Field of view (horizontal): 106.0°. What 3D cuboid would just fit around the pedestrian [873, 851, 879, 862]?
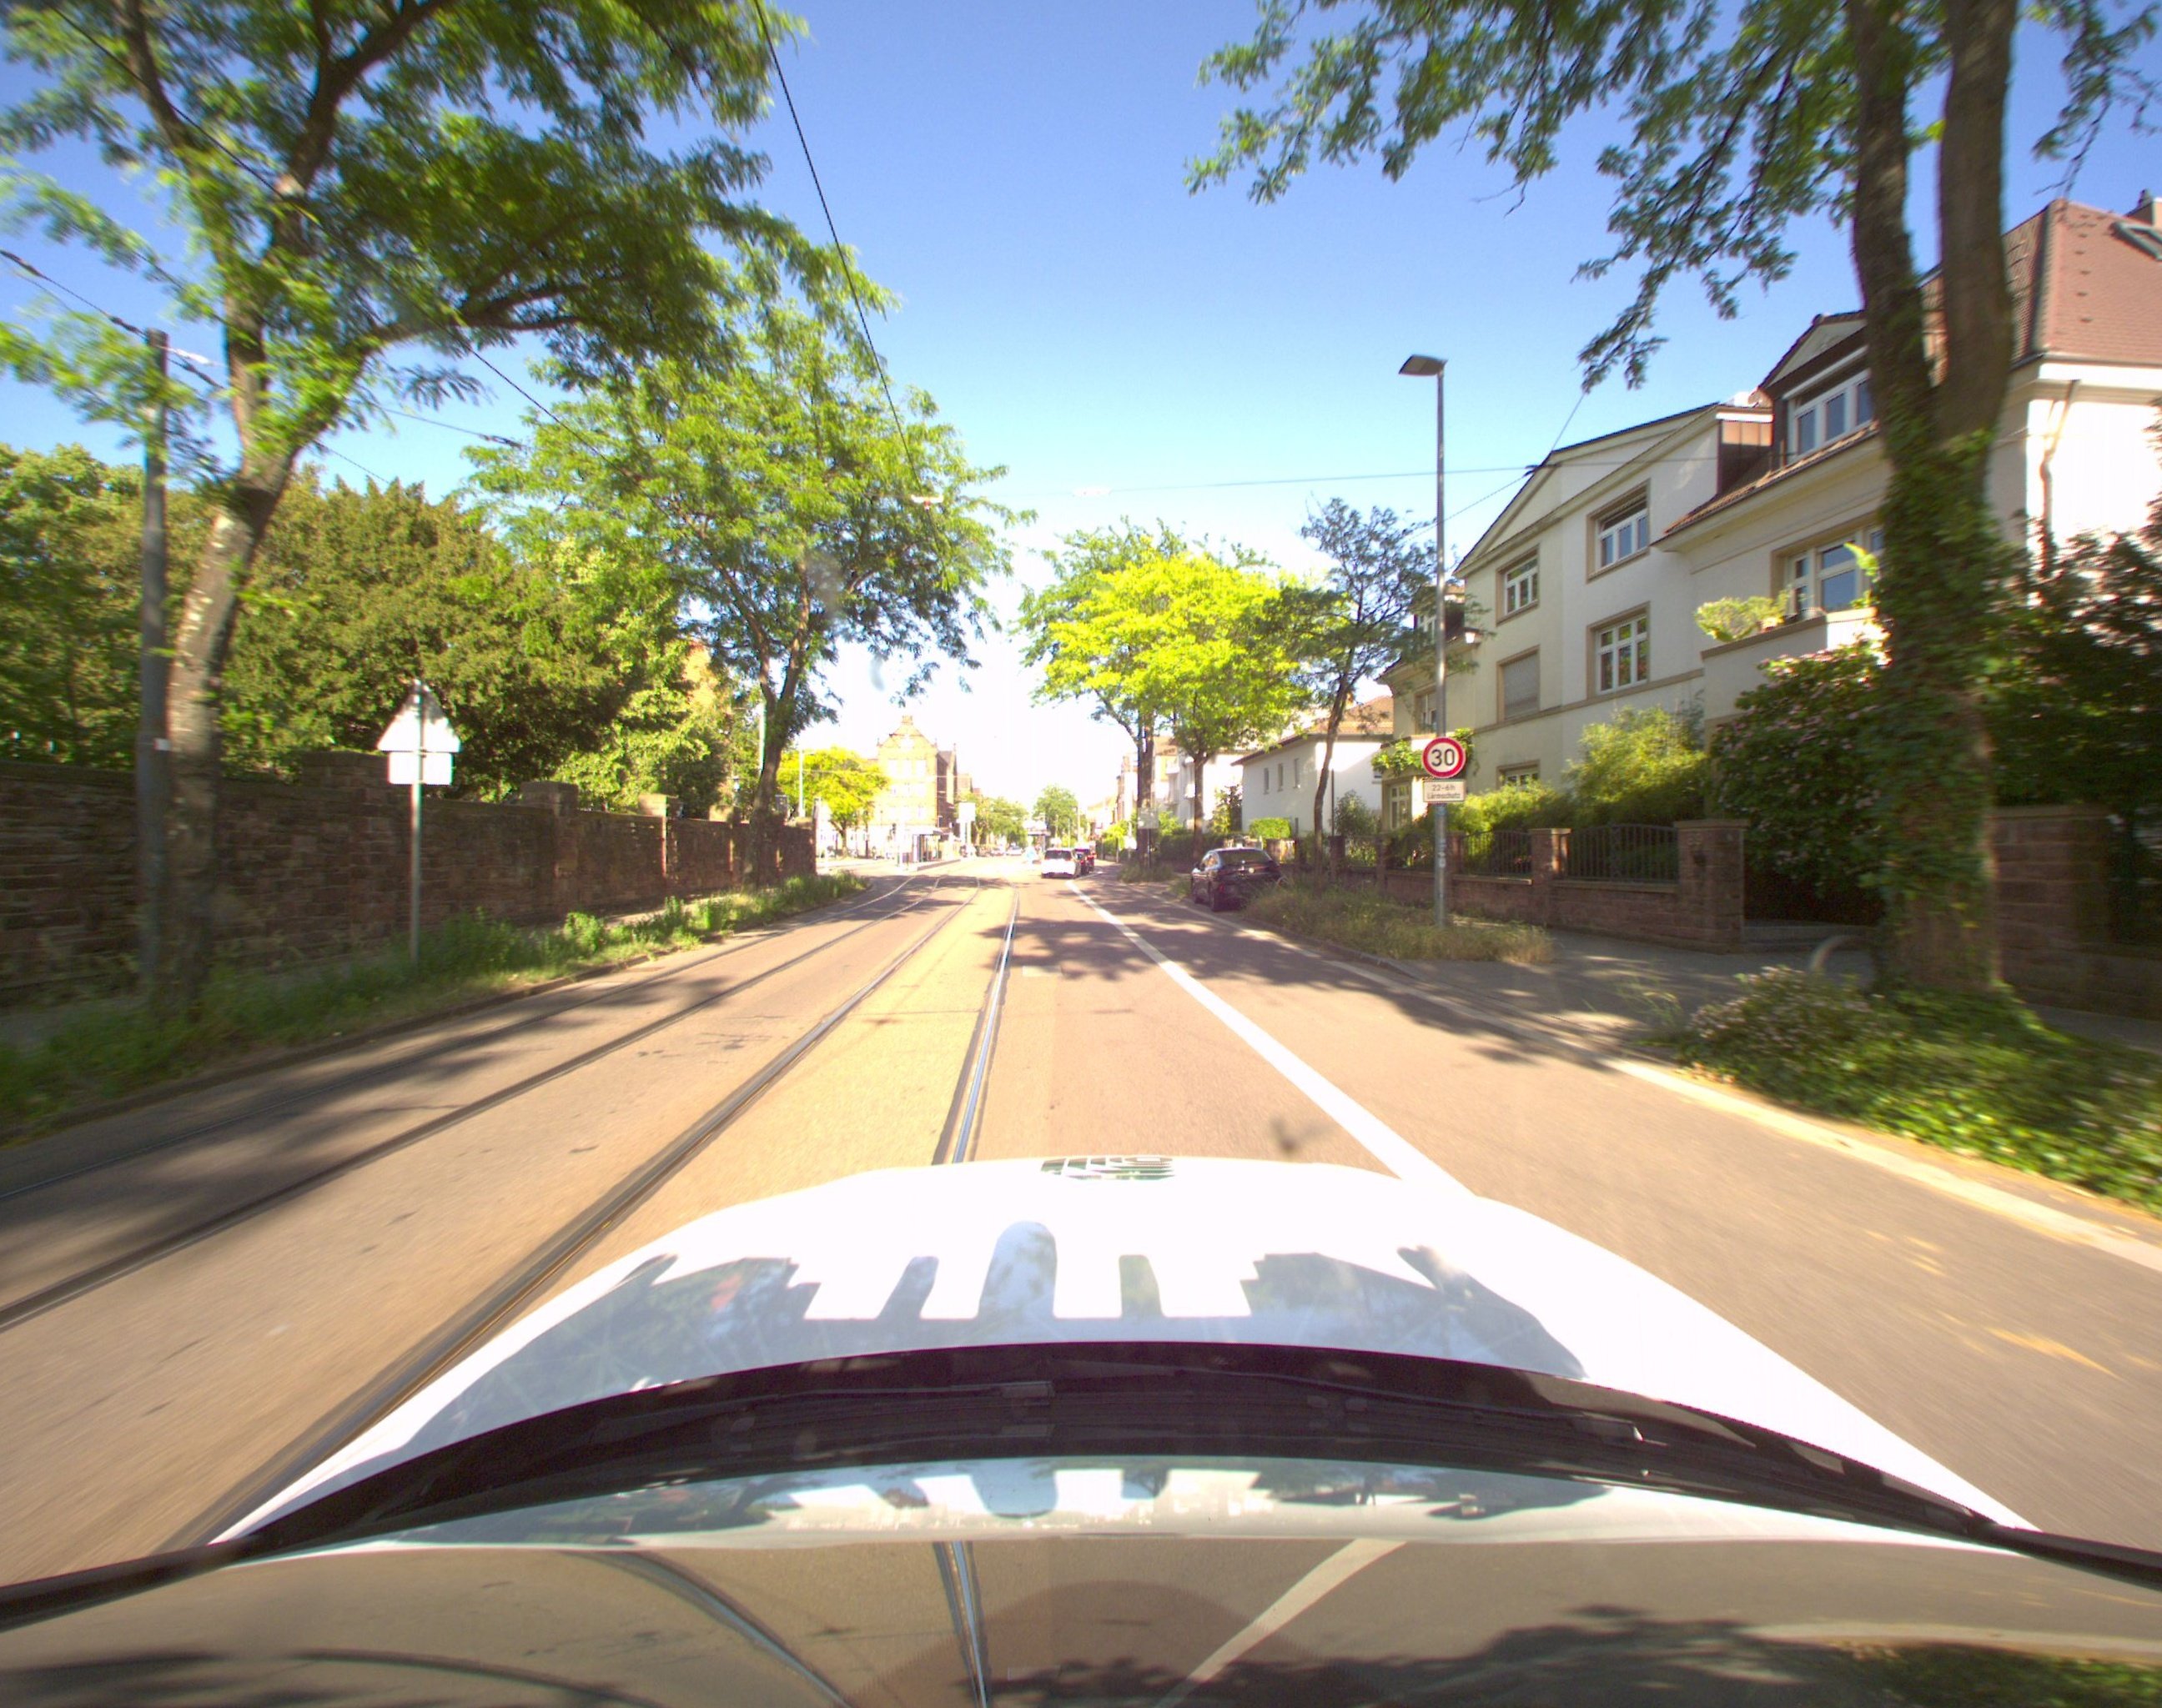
[{"bbox_3d":[-24.216,0.270,96.233,0.557,1.259,0.529,0,0,-4],"label":"pedestrian"}]

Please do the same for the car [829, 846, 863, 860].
[{"bbox_3d":[-30.469,-0.168,105.764,3.984,1.789,1.995,0,0,-8],"label":"car"}]

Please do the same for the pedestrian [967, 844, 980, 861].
[{"bbox_3d":[-12.743,-0.145,96.960,1.146,2.013,1.125,-1,0,17],"label":"pedestrian"}]

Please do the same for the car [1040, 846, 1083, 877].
[{"bbox_3d":[-0.997,0.422,44.121,1.884,1.611,4.234,0,-1,5],"label":"car"}]

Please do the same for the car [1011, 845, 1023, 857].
[{"bbox_3d":[-11.298,-0.517,143.347,1.988,1.913,3.996,0,0,-2],"label":"car"}]

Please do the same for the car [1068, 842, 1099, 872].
[{"bbox_3d":[0.197,0.209,56.907,1.700,2.013,3.914,0,0,6],"label":"car"}]

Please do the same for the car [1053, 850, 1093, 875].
[{"bbox_3d":[-0.449,0.512,50.749,1.983,1.442,4.007,0,0,6],"label":"car"}]

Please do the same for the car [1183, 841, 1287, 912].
[{"bbox_3d":[4.179,0.553,22.932,1.800,1.694,4.725,-4,0,-2],"label":"car"}]
